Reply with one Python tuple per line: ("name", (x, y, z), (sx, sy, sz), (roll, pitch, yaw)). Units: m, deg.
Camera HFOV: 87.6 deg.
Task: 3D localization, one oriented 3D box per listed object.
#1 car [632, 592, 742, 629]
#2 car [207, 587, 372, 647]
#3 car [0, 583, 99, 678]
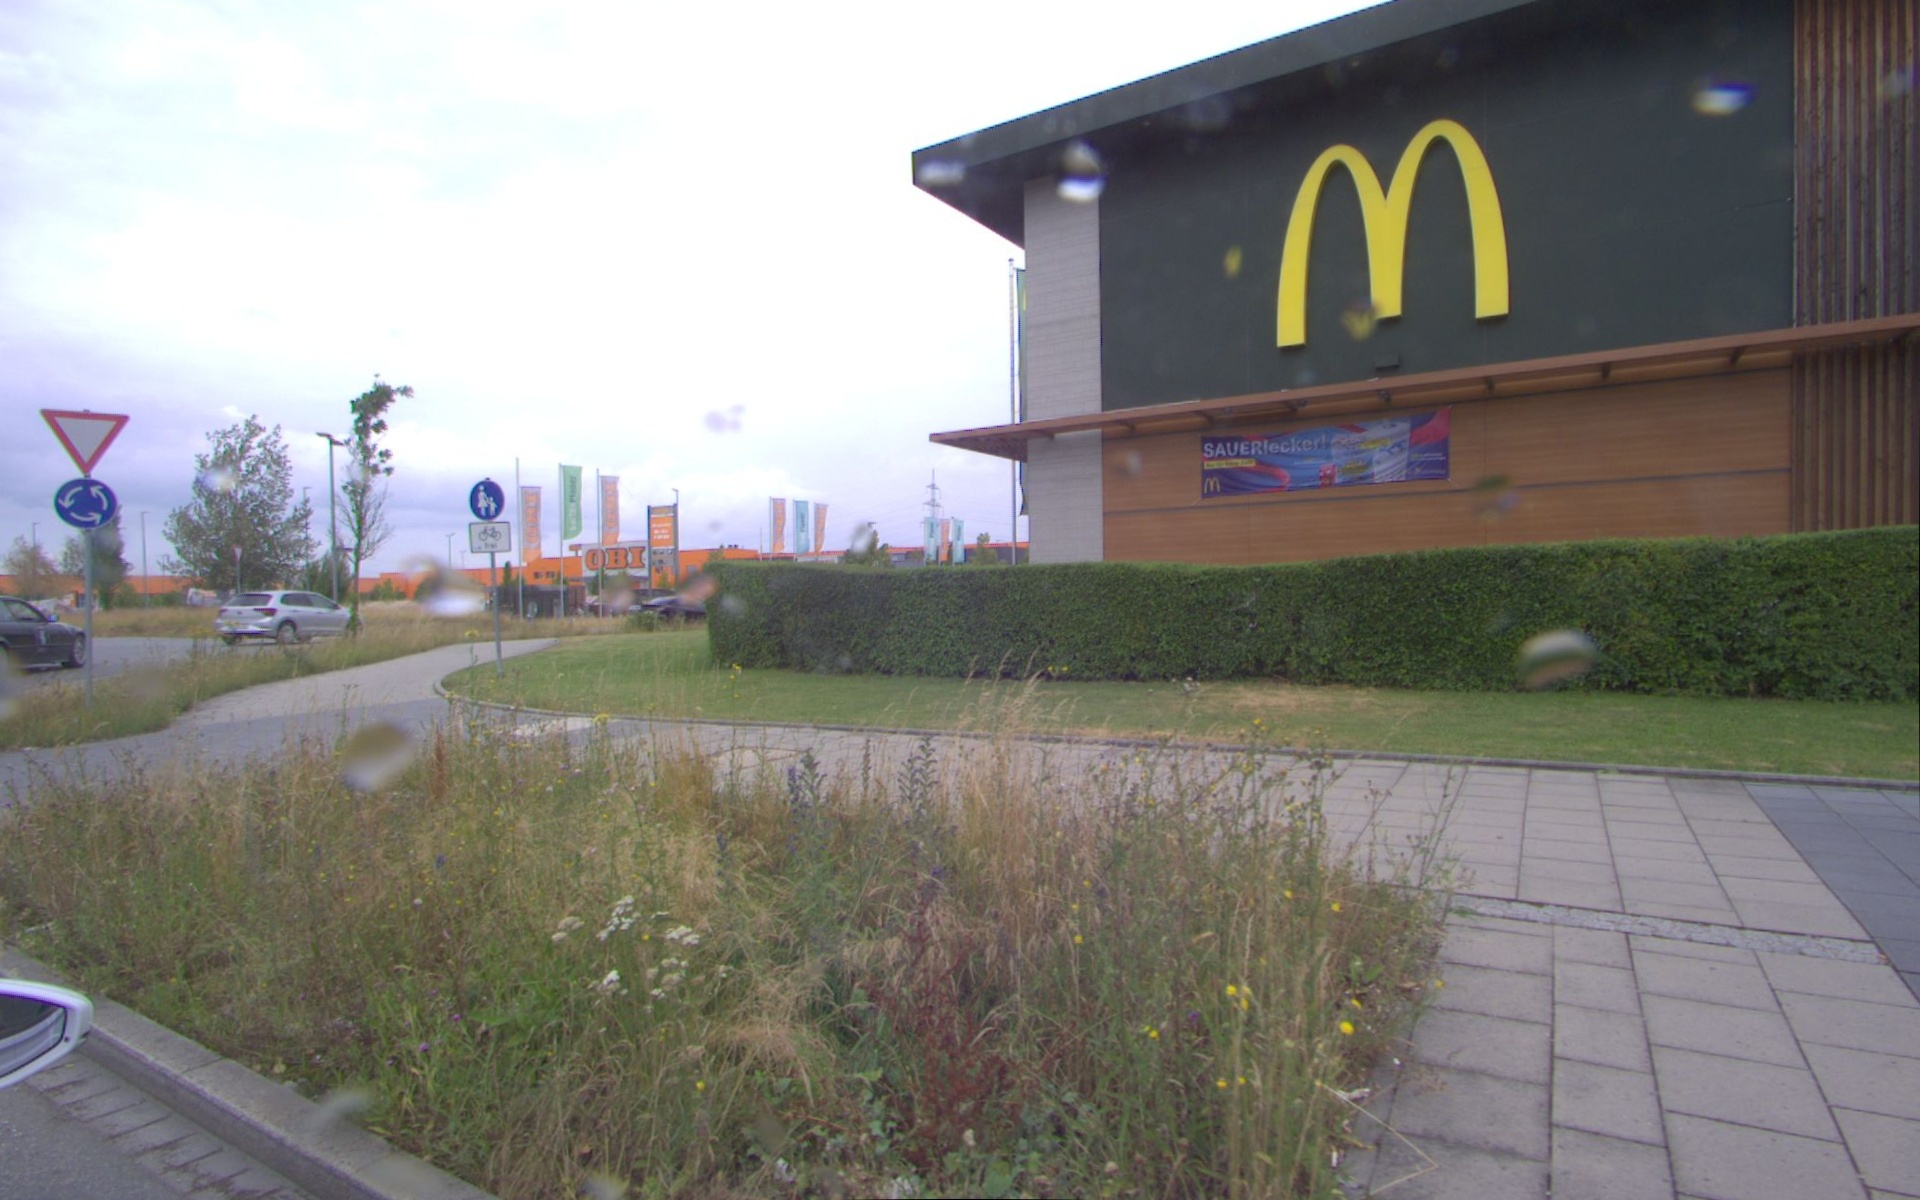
("car", (-12.526, 0.444, 46.227), (1.919, 1.519, 4.741), (2, 2, 36))
("car", (-18.575, 0.406, 27.976), (1.778, 1.484, 3.998), (2, 1, 2))
("car", (-16.170, 0.462, 16.445), (1.714, 1.422, 3.986), (2, 1, -20))
